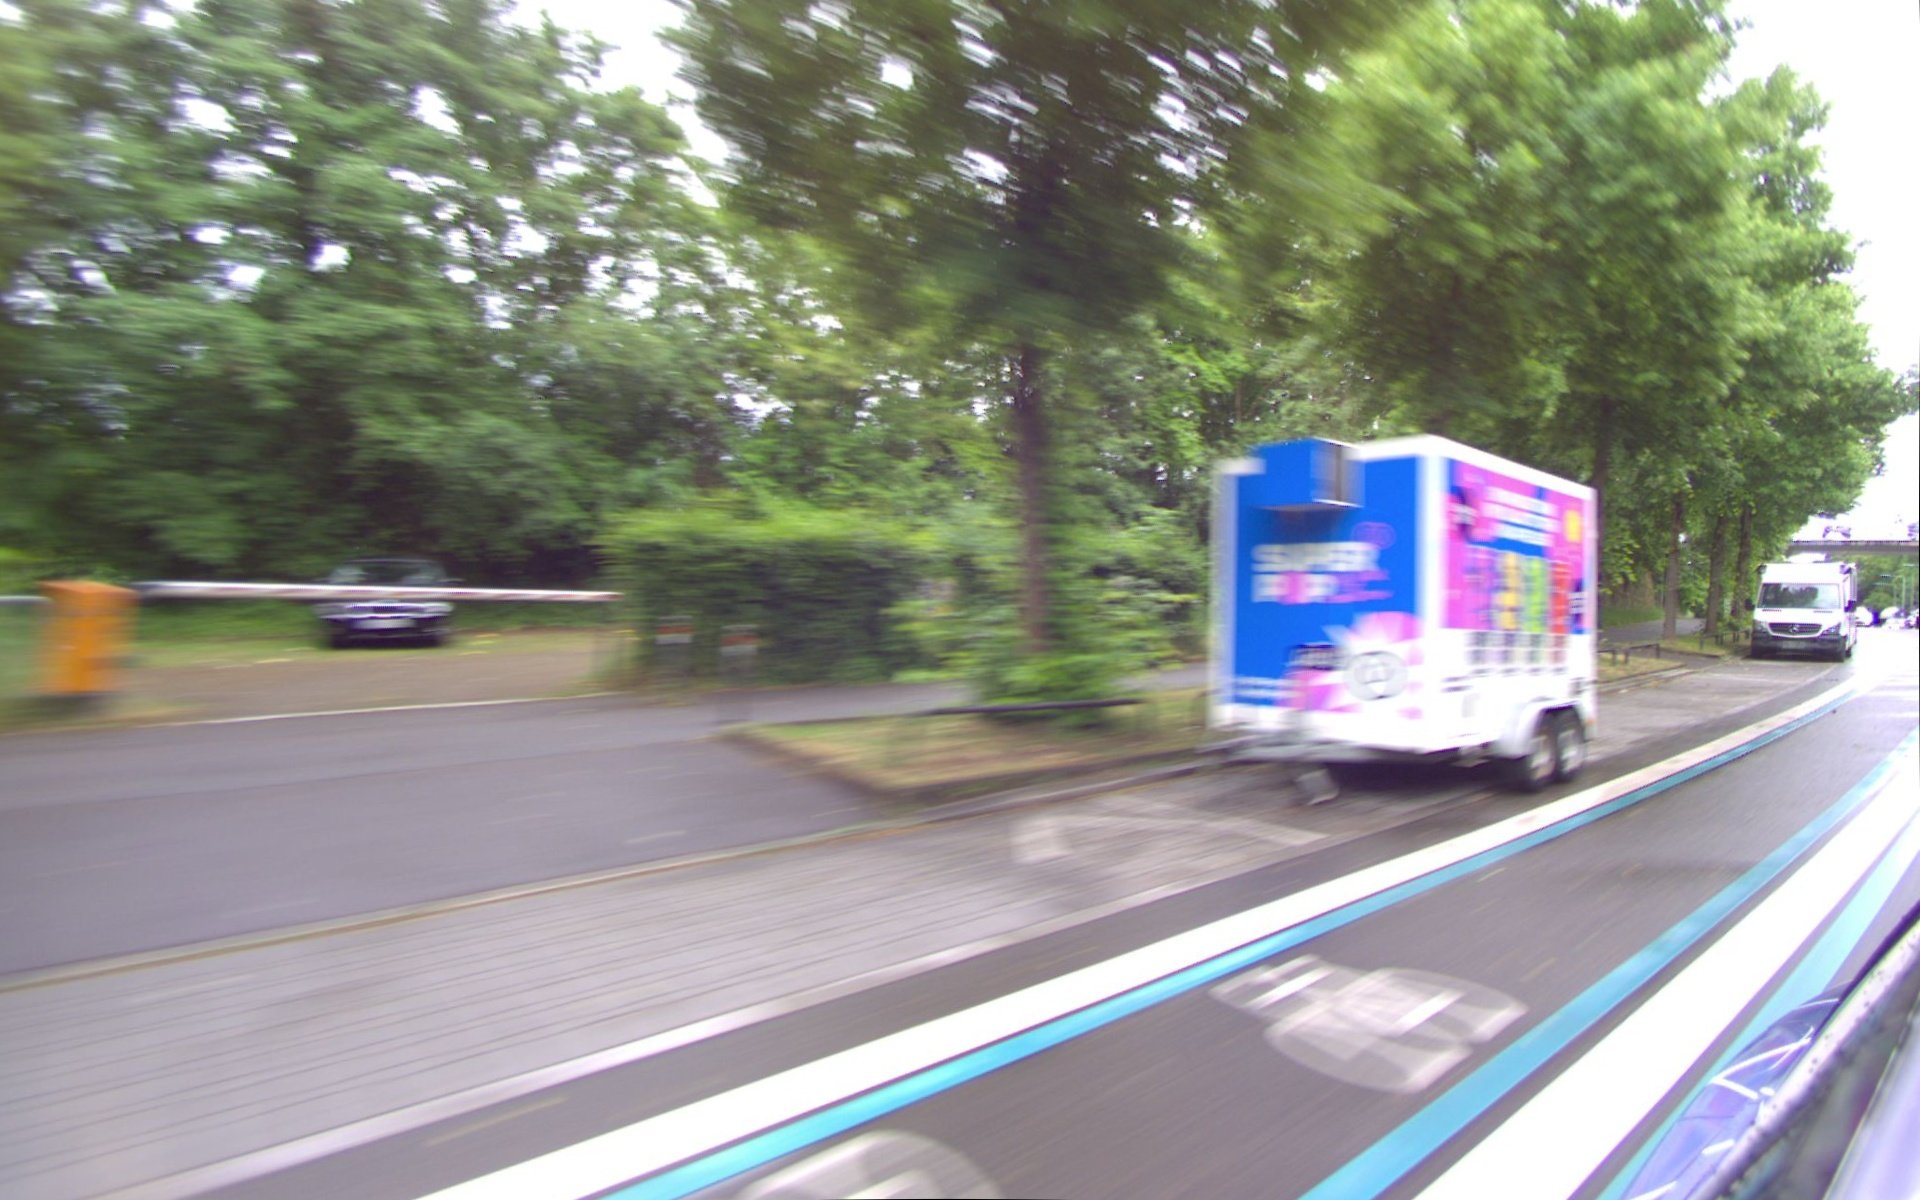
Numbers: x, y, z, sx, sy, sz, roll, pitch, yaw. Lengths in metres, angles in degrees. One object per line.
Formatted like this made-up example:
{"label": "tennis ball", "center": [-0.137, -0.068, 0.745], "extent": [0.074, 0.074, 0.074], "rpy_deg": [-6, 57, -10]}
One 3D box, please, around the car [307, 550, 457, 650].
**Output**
{"label": "car", "center": [-9.240, -0.084, 16.221], "extent": [1.853, 1.338, 4.156], "rpy_deg": [0, 3, -30]}

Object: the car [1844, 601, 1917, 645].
{"label": "car", "center": [32.866, 0.775, 36.220], "extent": [1.675, 1.393, 3.944], "rpy_deg": [1, 2, 39]}

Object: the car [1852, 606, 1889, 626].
{"label": "car", "center": [70.892, 1.233, 78.832], "extent": [1.819, 1.481, 3.828], "rpy_deg": [0, -2, 37]}

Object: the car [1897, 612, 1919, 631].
{"label": "car", "center": [110.686, 2.556, 117.753], "extent": [1.867, 2.002, 4.672], "rpy_deg": [3, 0, 36]}

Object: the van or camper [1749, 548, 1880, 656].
{"label": "van or camper", "center": [24.085, 0.050, 28.414], "extent": [2.318, 2.698, 6.278], "rpy_deg": [0, 0, 45]}

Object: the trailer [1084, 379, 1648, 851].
{"label": "trailer", "center": [3.647, 0.075, 8.455], "extent": [5.284, 2.706, 2.319], "rpy_deg": [0, 0, -42]}
